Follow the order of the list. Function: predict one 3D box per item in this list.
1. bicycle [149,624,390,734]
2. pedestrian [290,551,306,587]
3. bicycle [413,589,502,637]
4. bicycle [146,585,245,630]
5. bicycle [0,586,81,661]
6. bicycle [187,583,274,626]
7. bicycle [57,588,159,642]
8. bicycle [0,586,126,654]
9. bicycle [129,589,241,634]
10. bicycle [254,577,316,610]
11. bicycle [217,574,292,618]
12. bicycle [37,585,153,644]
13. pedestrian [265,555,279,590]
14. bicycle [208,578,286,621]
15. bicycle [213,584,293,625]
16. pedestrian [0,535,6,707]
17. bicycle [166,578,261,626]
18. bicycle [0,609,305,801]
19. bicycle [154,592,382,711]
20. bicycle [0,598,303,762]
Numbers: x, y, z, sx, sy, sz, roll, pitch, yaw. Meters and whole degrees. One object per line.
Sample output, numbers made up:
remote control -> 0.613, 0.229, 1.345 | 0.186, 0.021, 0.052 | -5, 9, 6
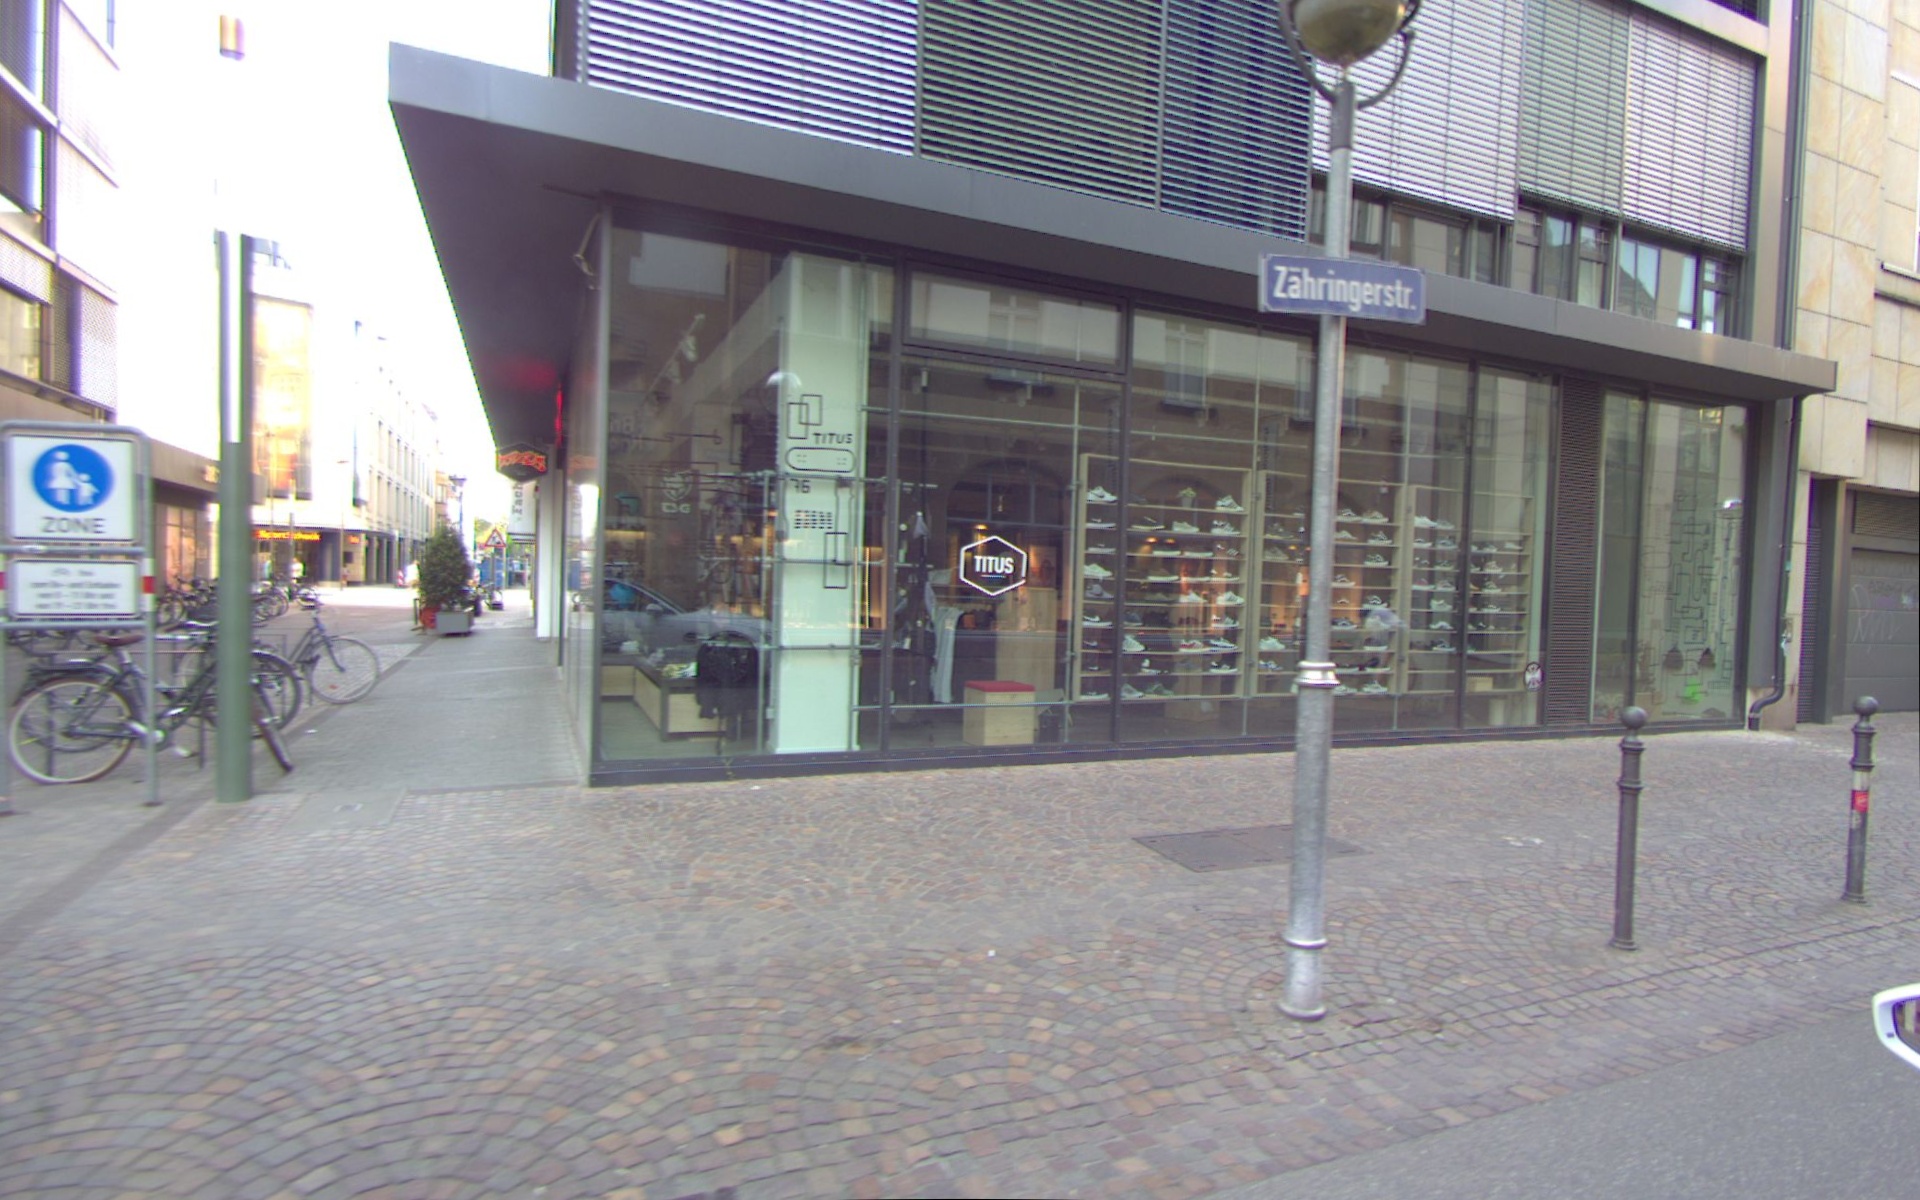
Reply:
bicycle -> -6.302, 0.700, 9.275 | 1.769, 0.907, 0.451 | 0, 2, -25
pedestrian -> -30.133, -1.412, 45.705 | 0.372, 1.594, 0.478 | 2, 1, 15
bicycle -> -11.244, 0.287, 22.507 | 1.769, 1.028, 0.365 | 0, 2, -25
bicycle -> -17.975, 0.180, 23.663 | 1.771, 1.022, 0.528 | 1, 1, -25
bicycle -> -14.360, 0.354, 15.169 | 1.522, 1.099, 0.545 | 1, 1, -25
bicycle -> -19.008, 0.120, 26.206 | 1.753, 1.065, 0.463 | 1, 1, -25
bicycle -> -16.655, 0.296, 19.673 | 1.436, 1.019, 0.463 | 1, 1, -25
bicycle -> -15.254, 0.345, 16.966 | 1.705, 1.106, 0.545 | 1, 1, -25
bicycle -> -17.406, 0.256, 22.597 | 1.919, 0.970, 0.463 | 1, 1, -25
bicycle -> -23.198, -0.226, 34.553 | 1.710, 1.076, 0.434 | 1, 1, -25
bicycle -> -20.512, -0.109, 29.237 | 1.710, 1.245, 0.463 | 1, 1, -25
bicycle -> -15.970, 0.281, 18.576 | 1.535, 1.051, 0.463 | 1, 1, -25
pedestrian -> -30.669, -1.226, 44.766 | 0.474, 1.573, 0.430 | 1, 1, -40
bicycle -> -20.144, -0.010, 28.406 | 1.710, 1.161, 0.463 | 1, 1, -25
bicycle -> -19.249, 0.133, 27.376 | 1.710, 1.065, 0.463 | 1, 1, -25
pedestrian -> -10.259, 0.221, 10.190 | 0.734, 1.809, 0.958 | 1, 1, -39
bicycle -> -18.544, 0.058, 25.002 | 1.824, 1.151, 0.463 | 1, 1, -25
bicycle -> -5.387, 0.638, 6.649 | 1.651, 1.128, 0.705 | 0, 2, -25
bicycle -> -7.147, 0.509, 10.491 | 1.885, 1.160, 0.553 | 0, 2, -25
bicycle -> -6.307, 0.578, 7.902 | 1.816, 1.166, 0.606 | 0, 2, -25
